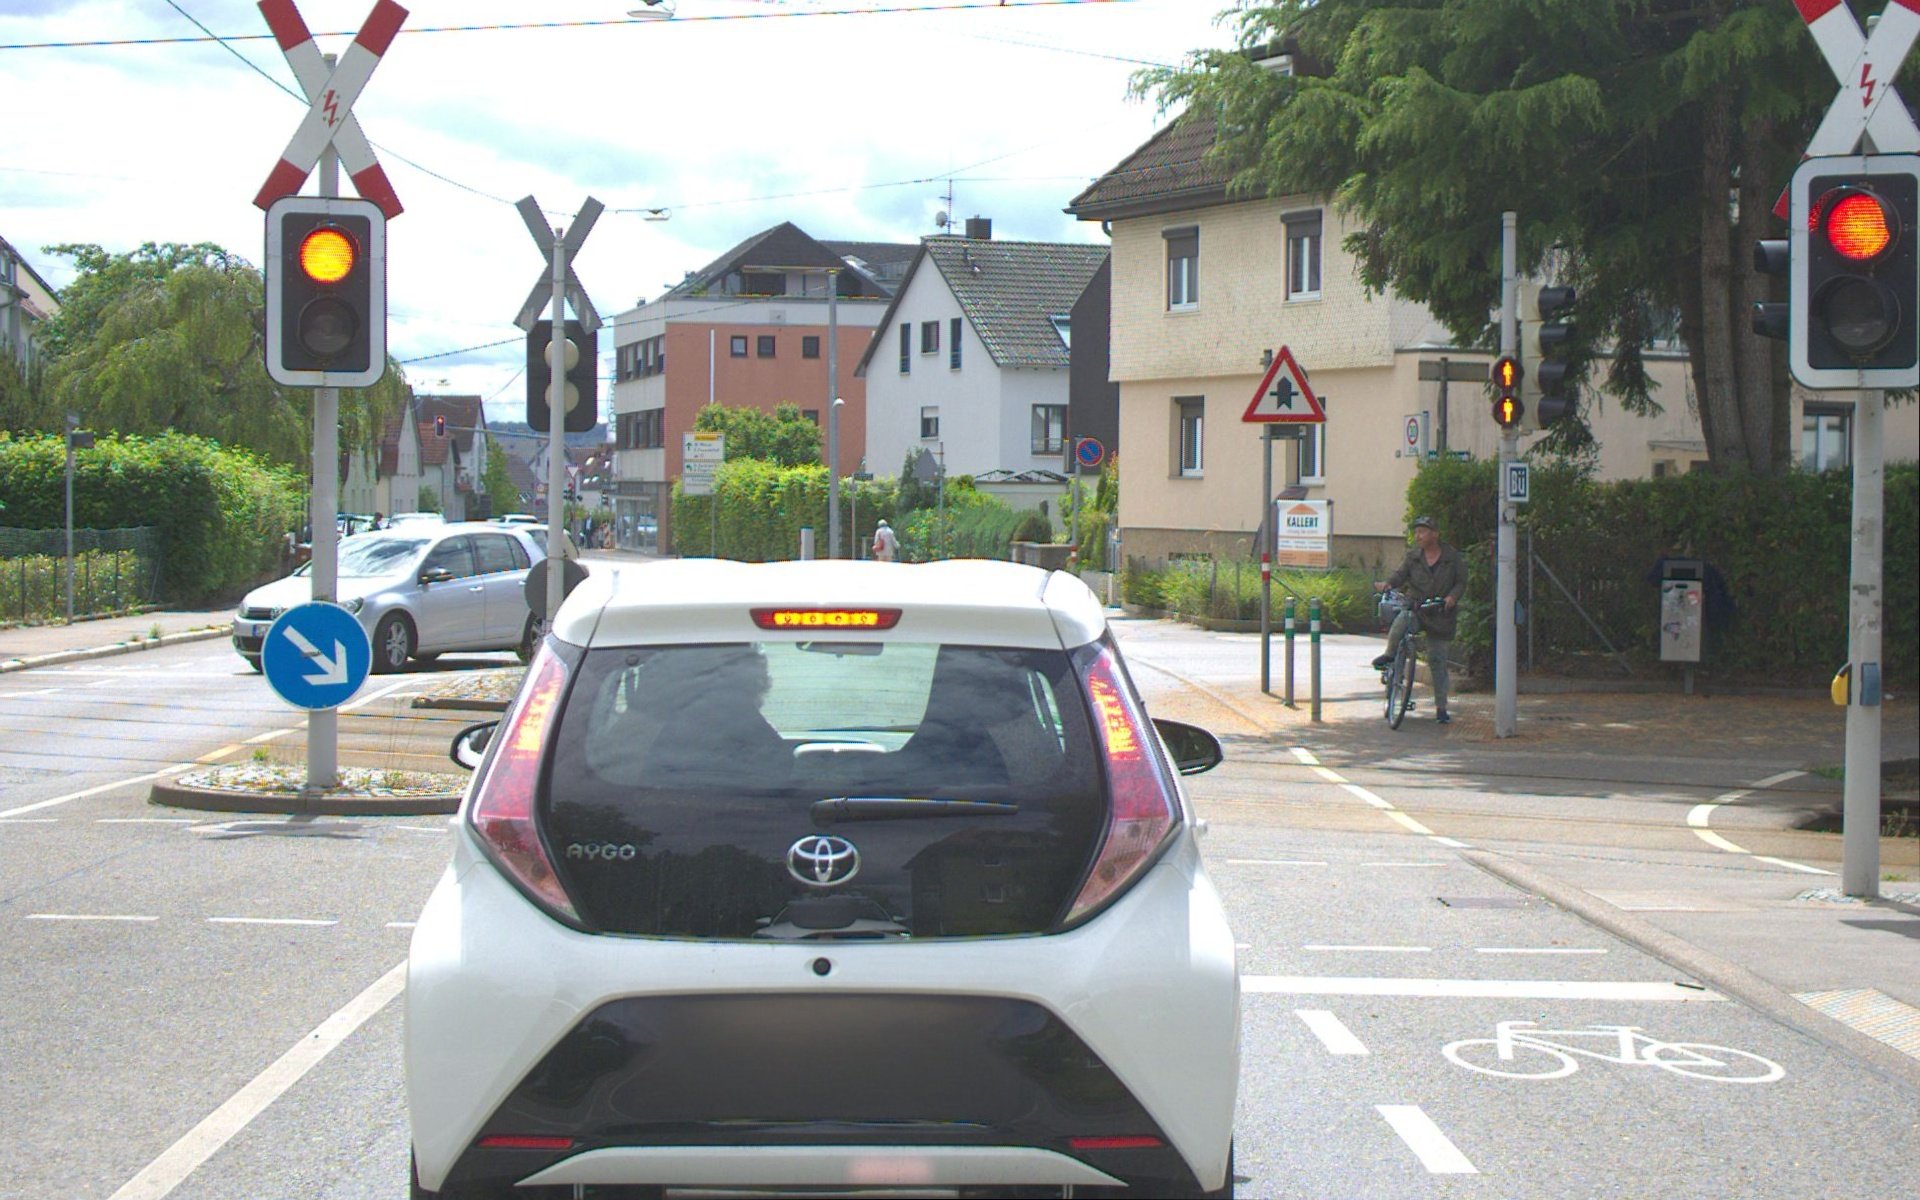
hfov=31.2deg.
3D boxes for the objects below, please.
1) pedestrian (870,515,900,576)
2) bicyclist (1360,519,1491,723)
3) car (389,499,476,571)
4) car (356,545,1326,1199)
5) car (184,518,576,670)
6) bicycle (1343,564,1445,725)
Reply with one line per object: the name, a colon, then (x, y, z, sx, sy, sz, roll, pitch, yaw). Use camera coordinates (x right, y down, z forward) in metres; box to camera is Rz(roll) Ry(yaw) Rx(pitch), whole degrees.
pedestrian: (-1.962, -1.440, 90.065, 0.726, 1.571, 0.803, 2, 1, -1)
bicyclist: (3.715, 0.157, 27.464, 0.840, 1.548, 0.756, -2, 4, -6)
car: (-13.312, -1.647, 86.973, 1.993, 1.713, 4.001, 2, 1, -7)
car: (-0.341, 0.622, 8.064, 1.721, 1.437, 3.709, 2, 1, -4)
car: (-5.968, -0.074, 35.853, 1.908, 1.436, 4.092, 2, 1, 28)
bicycle: (3.488, 0.341, 27.699, 0.457, 1.168, 1.480, -2, 4, -6)
